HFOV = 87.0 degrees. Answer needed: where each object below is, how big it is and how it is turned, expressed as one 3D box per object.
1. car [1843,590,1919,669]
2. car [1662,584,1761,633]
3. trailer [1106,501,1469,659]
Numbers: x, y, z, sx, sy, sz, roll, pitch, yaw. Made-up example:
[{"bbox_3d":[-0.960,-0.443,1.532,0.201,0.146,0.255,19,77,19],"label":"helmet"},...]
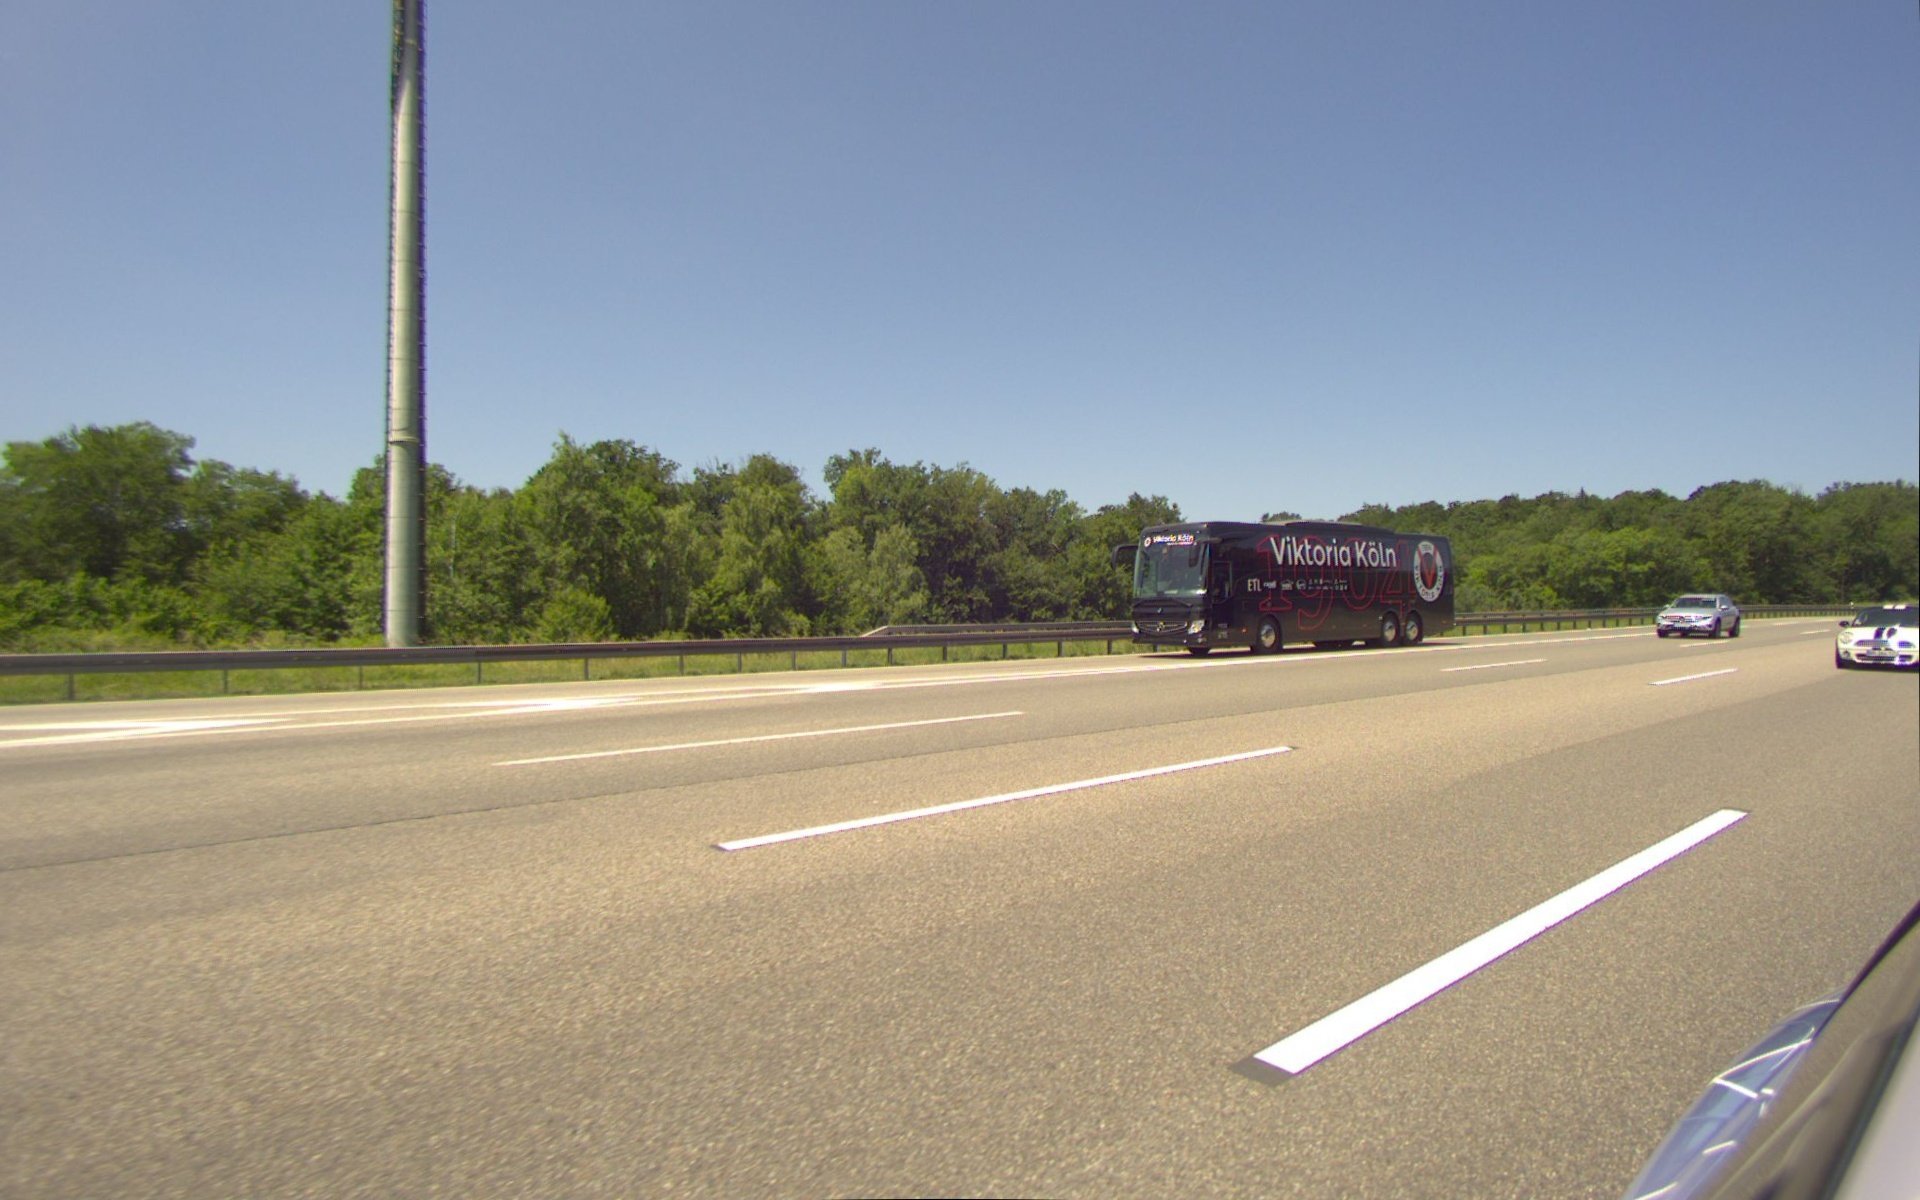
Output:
[{"bbox_3d":[20.597,0.592,21.802,3.930,1.572,1.844,0,0,-41],"label":"car"},{"bbox_3d":[28.543,0.315,38.378,5.144,1.753,1.805,1,0,-39],"label":"car"},{"bbox_3d":[9.946,-0.546,29.123,13.292,3.734,2.865,-1,0,-37],"label":"trailer"}]
